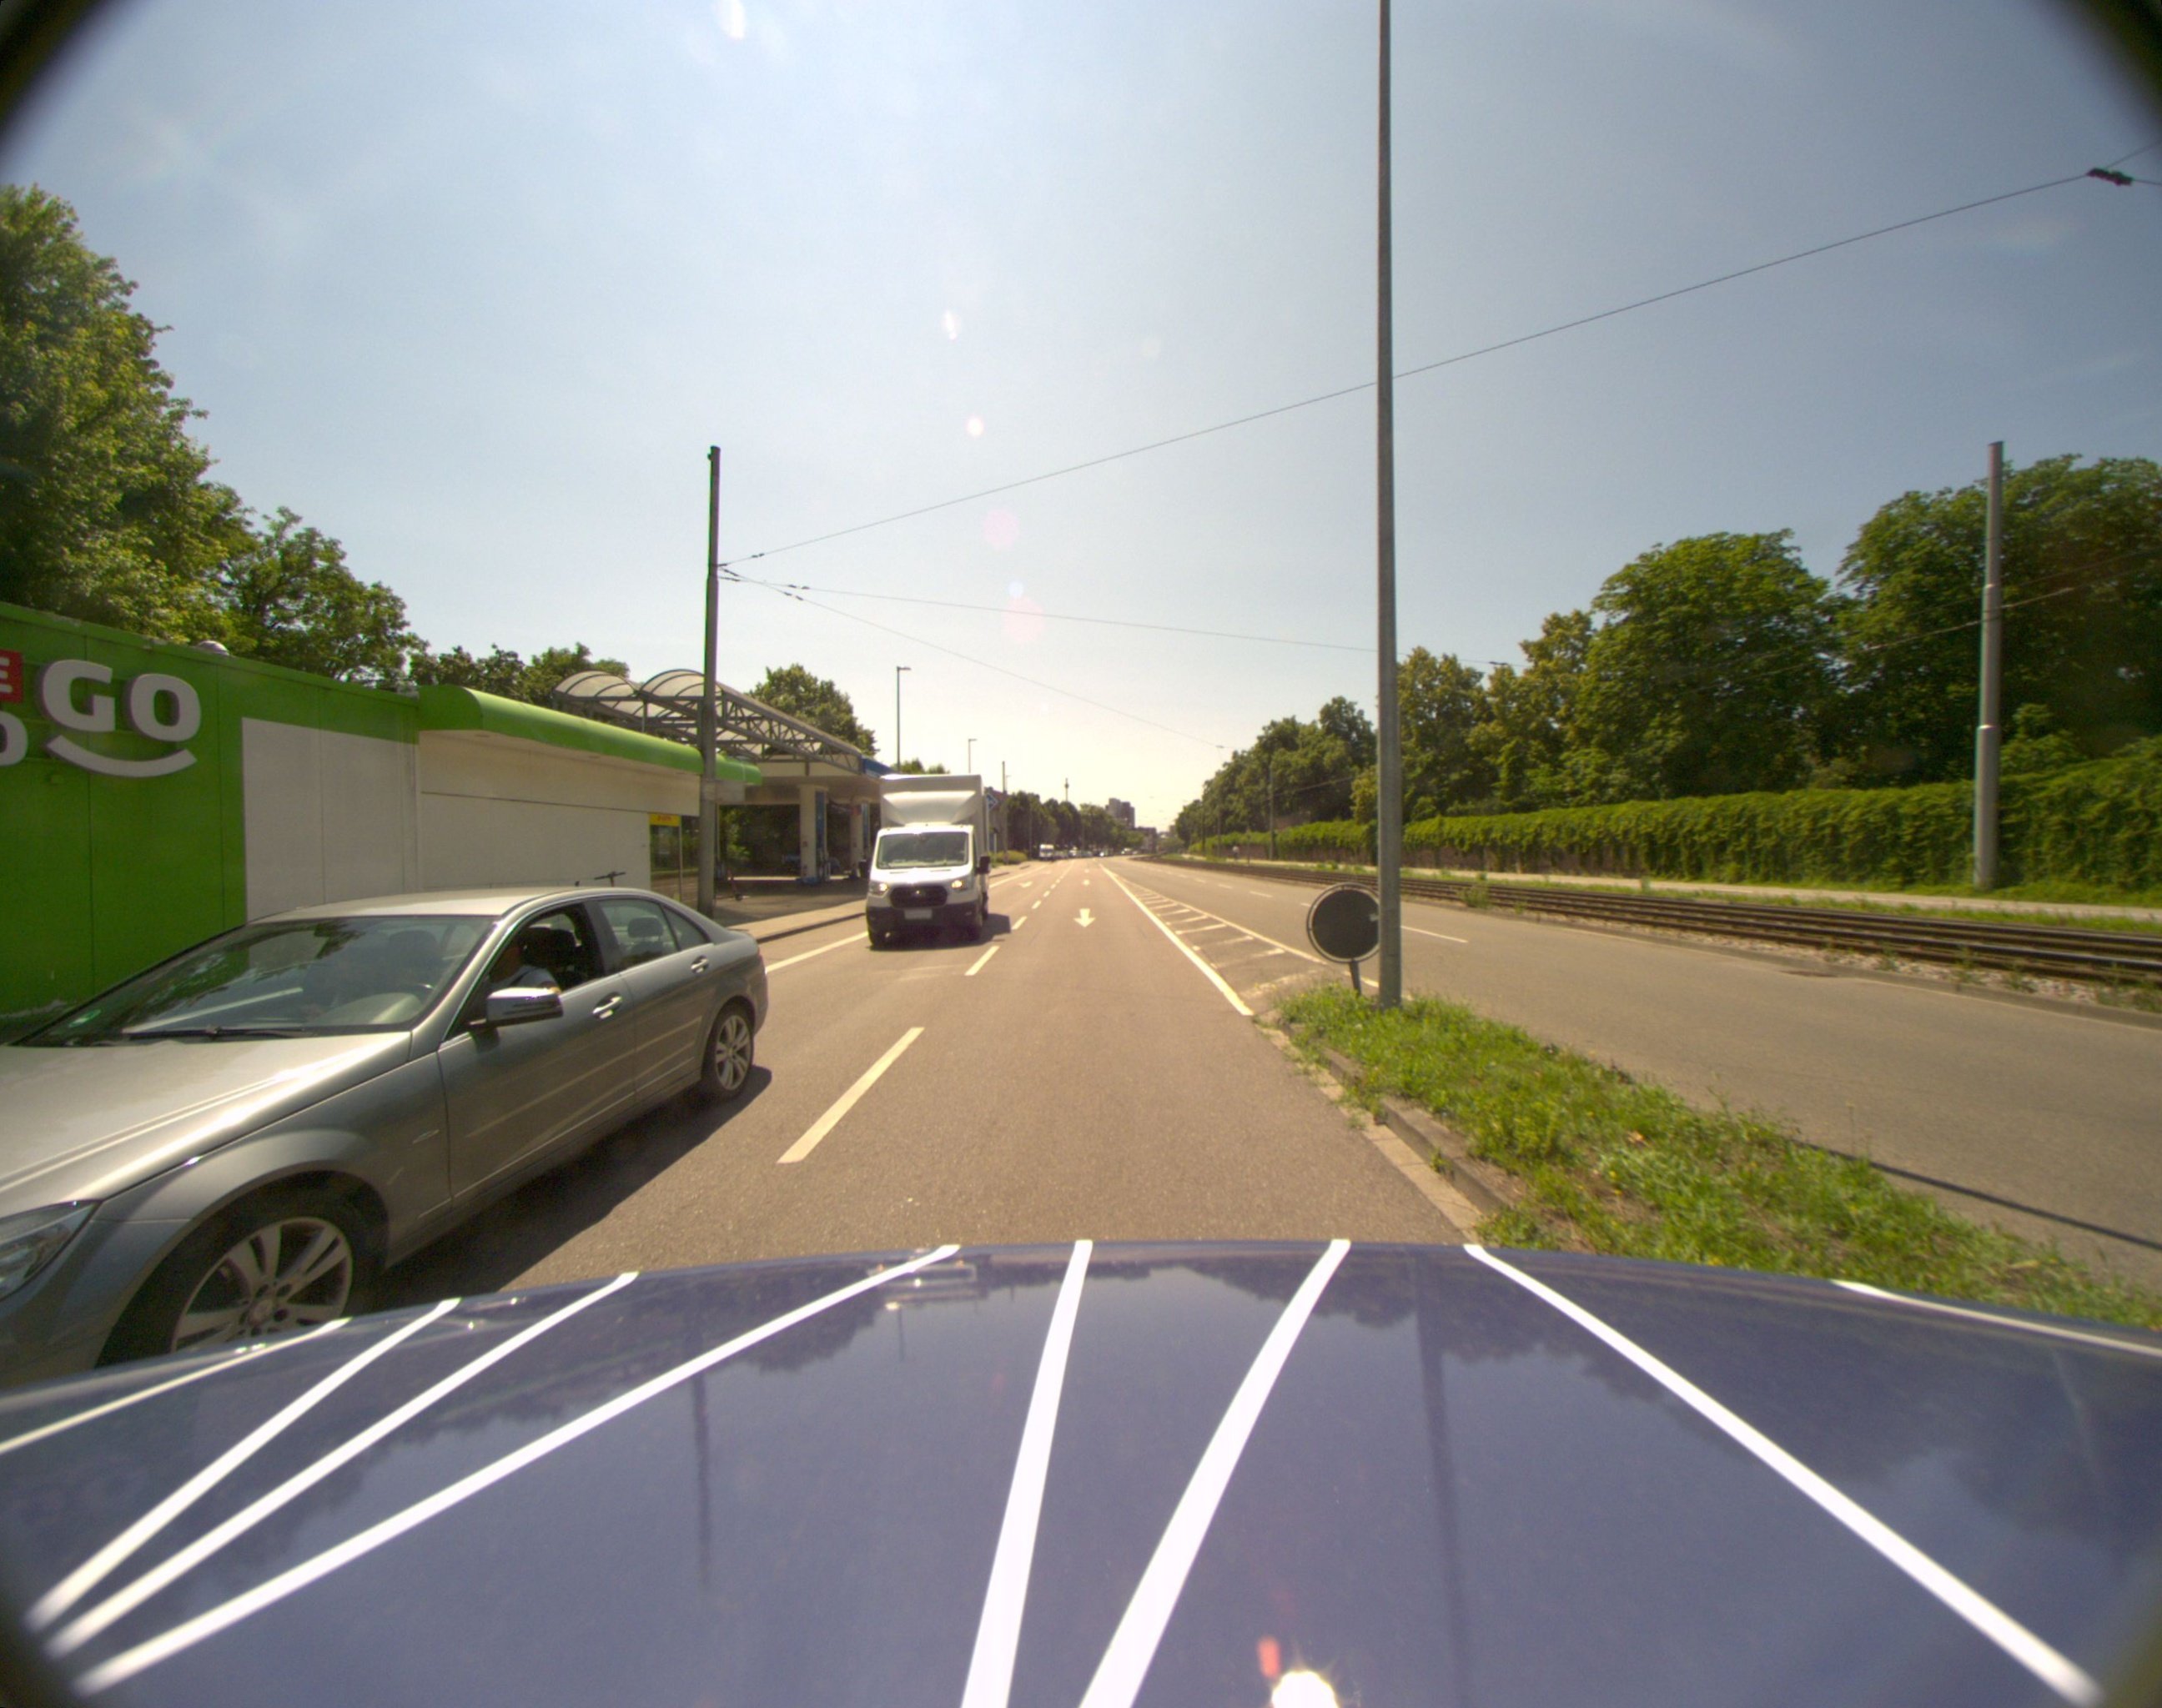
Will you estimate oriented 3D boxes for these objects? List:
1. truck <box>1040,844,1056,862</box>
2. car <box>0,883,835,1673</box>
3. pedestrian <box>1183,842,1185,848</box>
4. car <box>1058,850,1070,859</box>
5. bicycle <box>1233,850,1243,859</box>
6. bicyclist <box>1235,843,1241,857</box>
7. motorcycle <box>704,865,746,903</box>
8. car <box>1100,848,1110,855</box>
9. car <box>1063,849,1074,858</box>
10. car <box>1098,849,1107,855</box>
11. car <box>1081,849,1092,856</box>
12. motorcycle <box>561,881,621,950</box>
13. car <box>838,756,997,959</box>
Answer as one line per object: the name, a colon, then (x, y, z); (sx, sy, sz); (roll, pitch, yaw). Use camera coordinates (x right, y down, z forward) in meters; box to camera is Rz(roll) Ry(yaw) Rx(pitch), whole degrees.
truck: (-4.830, -0.187, 112.154); (1.998, 2.462, 5.236); (-2, 1, 1)
car: (-3.096, 1.028, 3.935); (1.717, 1.464, 5.302); (-3, 0, 2)
pedestrian: (27.806, -2.362, 205.472); (0.453, 1.655, 0.302); (-2, 1, 0)
car: (-3.059, -0.001, 137.220); (1.912, 1.488, 4.000); (-2, 1, 3)
bicycle: (17.688, 0.043, 85.771); (0.618, 1.049, 1.977); (-2, 1, -1)
bicyclist: (17.677, -0.487, 85.704); (0.483, 1.603, 0.769); (-2, 1, 0)
motorcycle: (-11.703, 0.988, 24.993); (1.157, 1.203, 0.364); (1, 0, -1)
car: (5.791, -0.616, 180.829); (1.946, 1.674, 4.001); (-2, 1, 6)
car: (-2.402, -0.120, 146.000); (1.912, 1.488, 4.000); (-2, 1, 3)
car: (6.165, -0.622, 214.630); (1.911, 1.488, 4.002); (-2, 1, 9)
car: (1.257, -0.427, 182.823); (1.911, 1.488, 4.002); (-2, 1, 9)
motorcycle: (-8.658, 1.064, 13.452); (0.253, 1.099, 1.117); (5, 1, 1)
car: (-3.222, 0.010, 17.117); (2.230, 3.316, 8.631); (-3, 1, -5)
